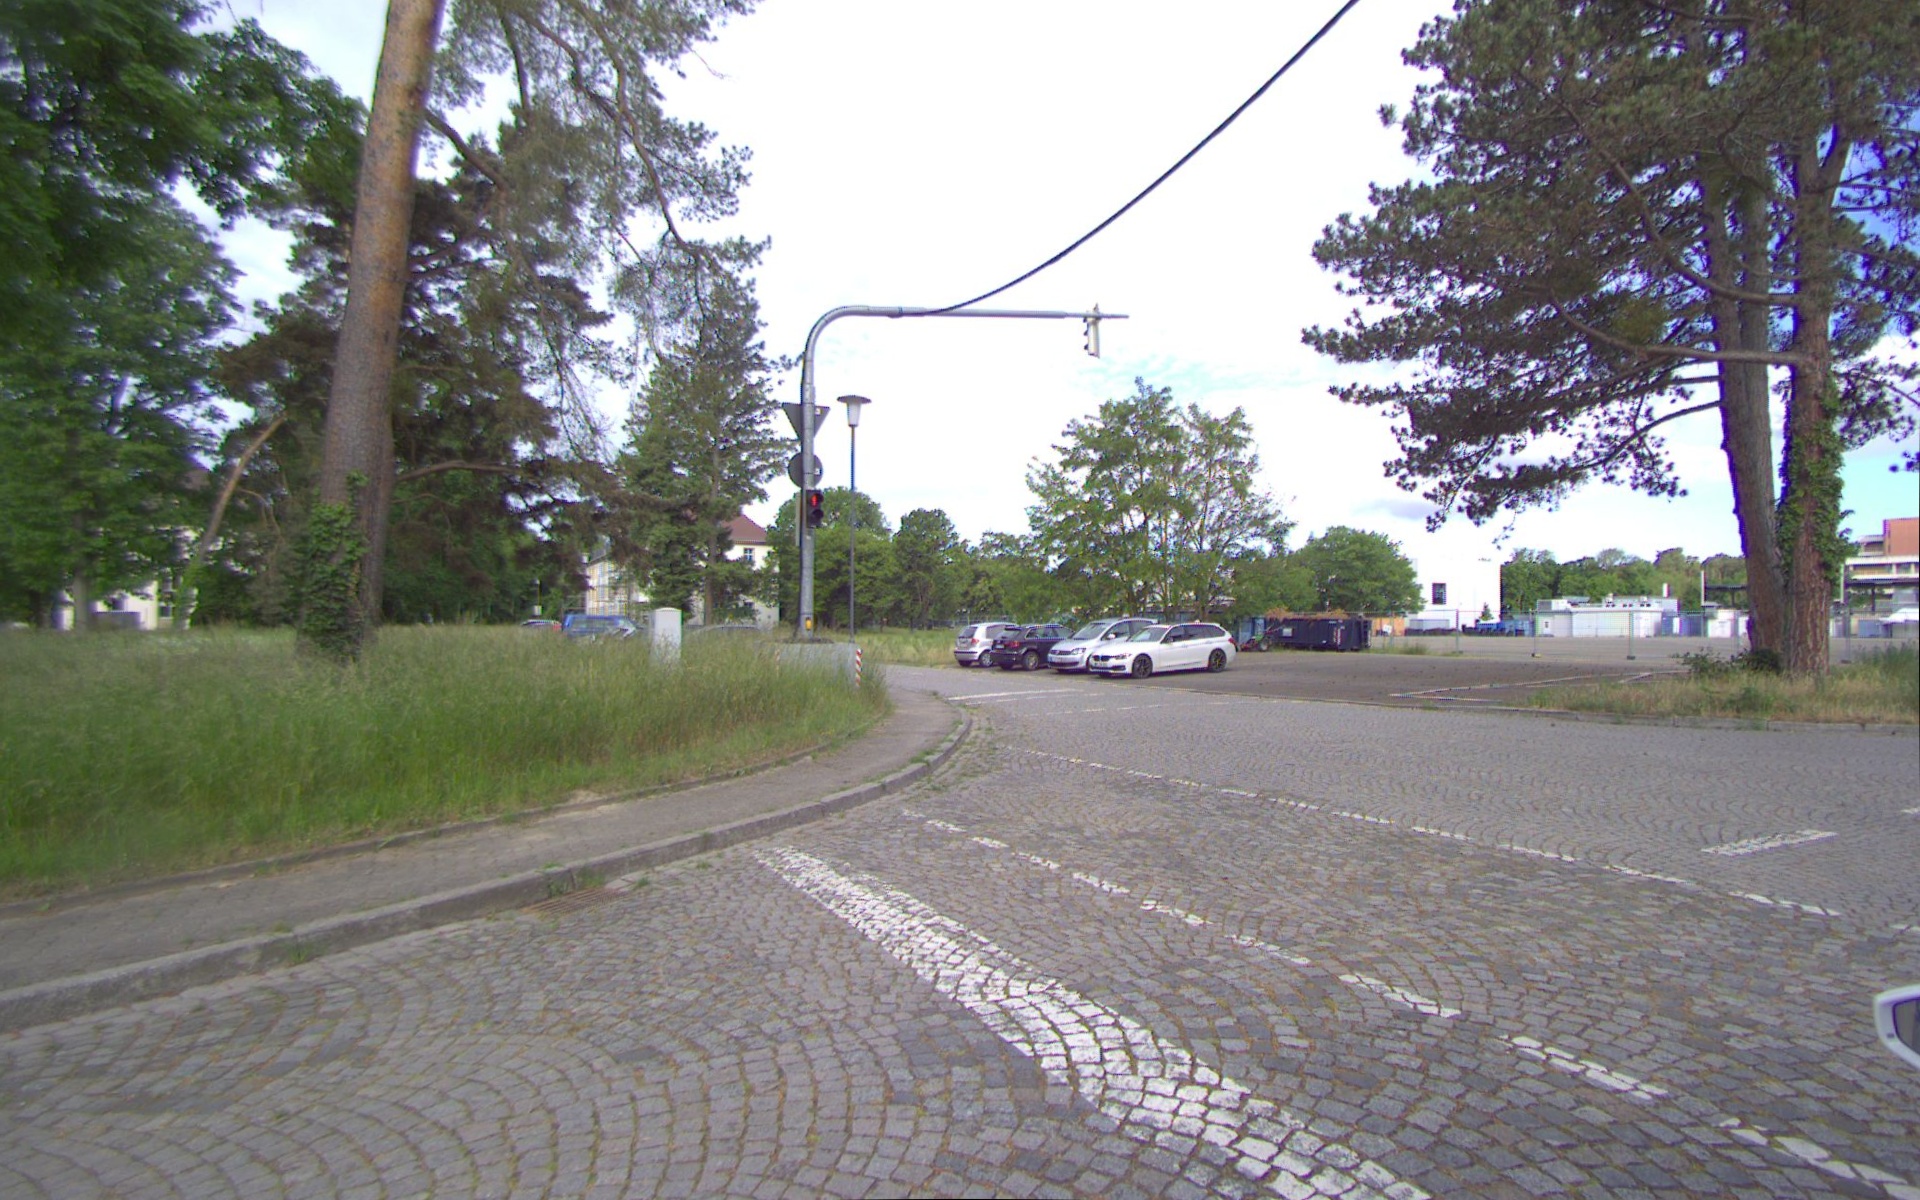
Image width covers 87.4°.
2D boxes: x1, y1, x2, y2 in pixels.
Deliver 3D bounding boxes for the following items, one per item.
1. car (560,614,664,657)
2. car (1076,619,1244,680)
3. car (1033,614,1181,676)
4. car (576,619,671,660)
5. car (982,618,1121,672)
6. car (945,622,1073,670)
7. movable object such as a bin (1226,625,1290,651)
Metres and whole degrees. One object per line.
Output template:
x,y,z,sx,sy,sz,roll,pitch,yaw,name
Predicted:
-17.579,1.757,50.736,4.732,2.007,1.984,0,-1,-28,car
5.734,1.355,28.587,4.684,1.461,1.801,-2,0,-31,car
4.528,1.316,30.767,4.276,1.605,1.812,-2,0,-31,car
-15.396,1.772,45.980,3.946,1.737,1.680,0,-1,-26,car
3.037,1.435,33.090,4.276,1.522,1.845,-2,0,-31,car
1.742,1.567,35.427,4.277,1.587,1.784,1,-1,-31,car
12.581,1.583,42.391,2.630,1.062,1.171,1,-2,-33,movable object such as a bin
